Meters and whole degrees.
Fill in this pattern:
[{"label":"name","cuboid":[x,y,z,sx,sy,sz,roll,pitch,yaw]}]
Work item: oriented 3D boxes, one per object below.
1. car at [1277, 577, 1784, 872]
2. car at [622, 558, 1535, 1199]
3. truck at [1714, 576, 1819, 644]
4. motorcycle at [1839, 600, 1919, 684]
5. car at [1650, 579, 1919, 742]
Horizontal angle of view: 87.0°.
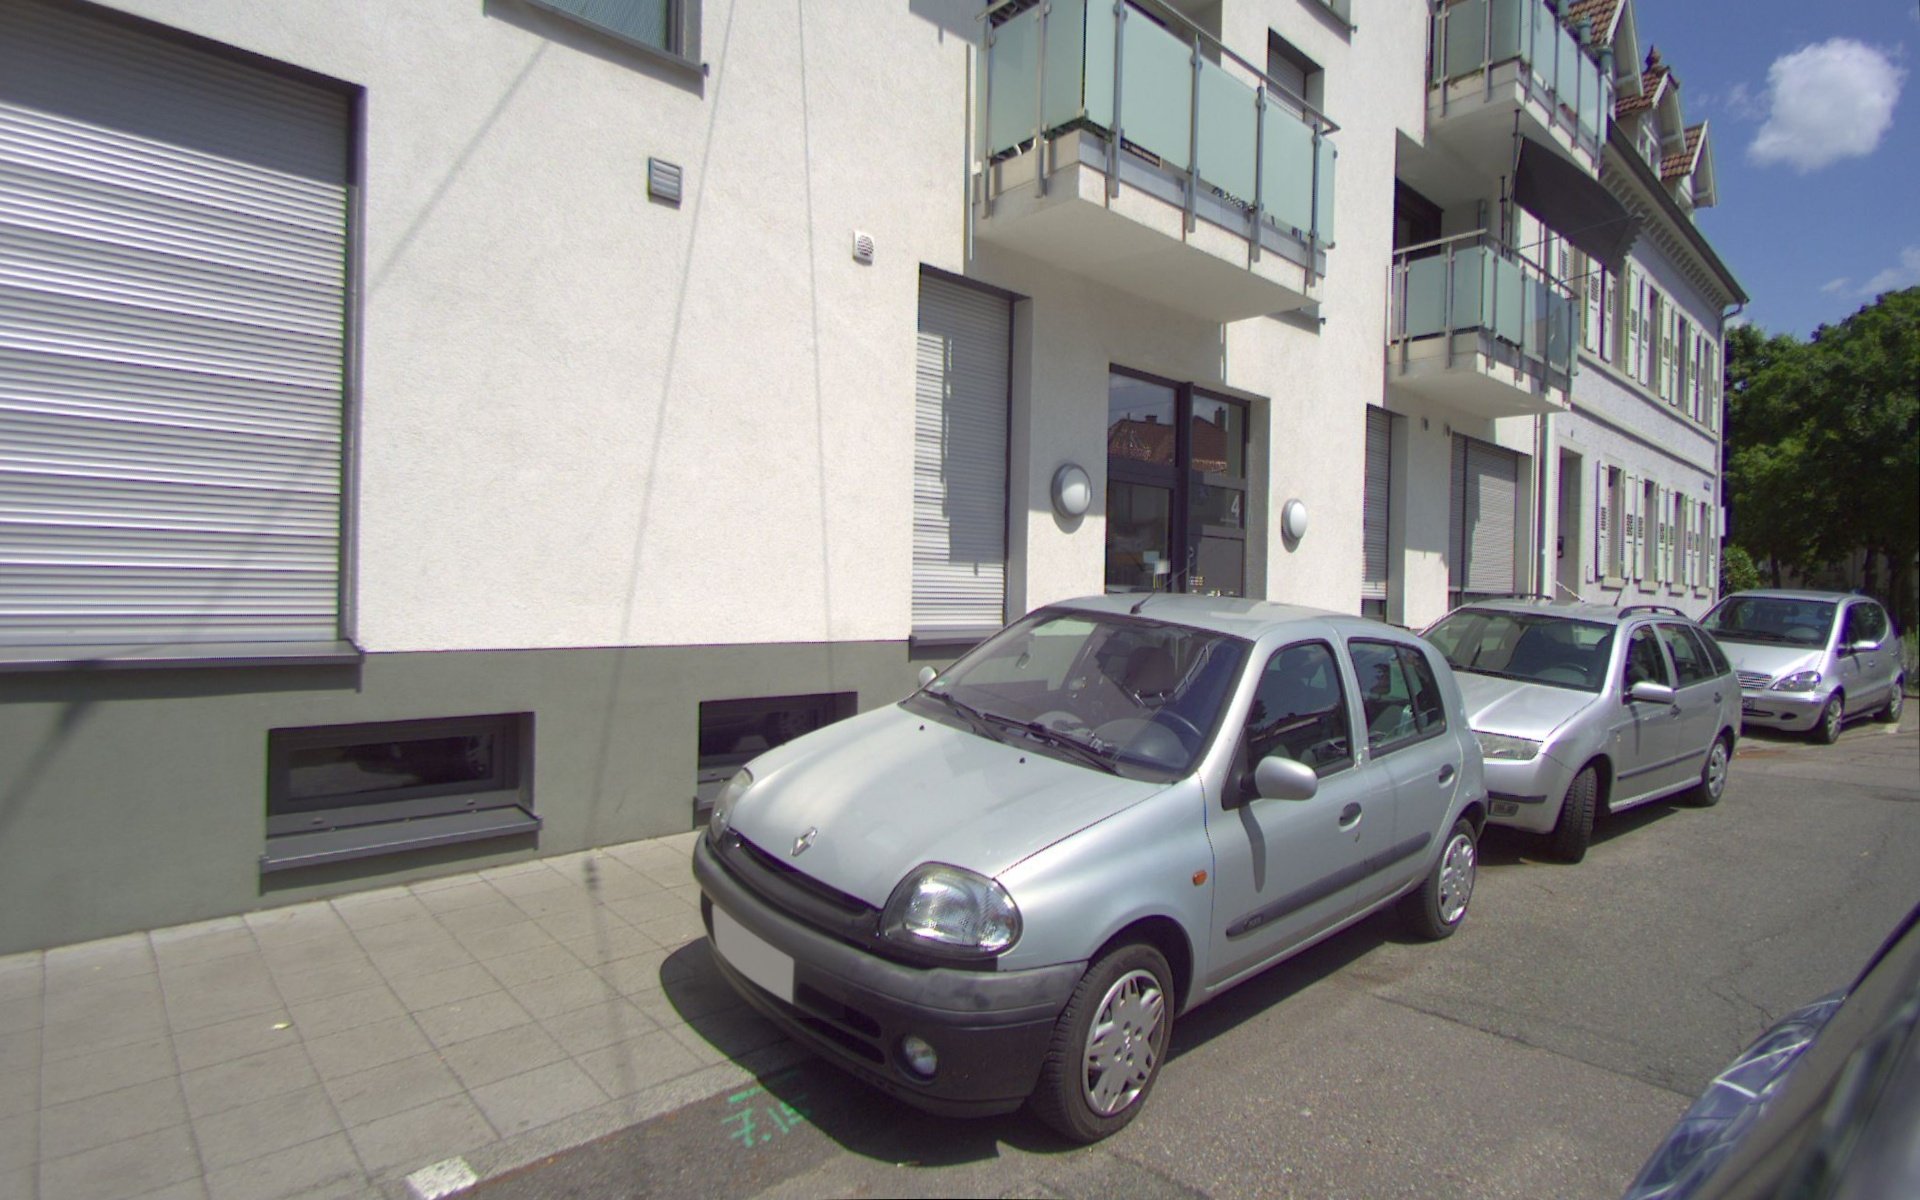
[{"label":"car","cuboid":[4.194,0.630,7.201,3.970,1.450,1.732,0,4,-39]},{"label":"car","cuboid":[0.754,0.629,4.034,3.644,1.450,1.595,-1,5,-43]},{"label":"truck","cuboid":[25.830,0.317,32.603,1.901,1.950,5.222,2,1,31]},{"label":"motorcycle","cuboid":[15.981,0.686,17.490,2.296,1.369,0.802,0,0,-39]},{"label":"car","cuboid":[10.144,0.589,12.268,3.729,1.630,1.733,-1,3,-36]}]
